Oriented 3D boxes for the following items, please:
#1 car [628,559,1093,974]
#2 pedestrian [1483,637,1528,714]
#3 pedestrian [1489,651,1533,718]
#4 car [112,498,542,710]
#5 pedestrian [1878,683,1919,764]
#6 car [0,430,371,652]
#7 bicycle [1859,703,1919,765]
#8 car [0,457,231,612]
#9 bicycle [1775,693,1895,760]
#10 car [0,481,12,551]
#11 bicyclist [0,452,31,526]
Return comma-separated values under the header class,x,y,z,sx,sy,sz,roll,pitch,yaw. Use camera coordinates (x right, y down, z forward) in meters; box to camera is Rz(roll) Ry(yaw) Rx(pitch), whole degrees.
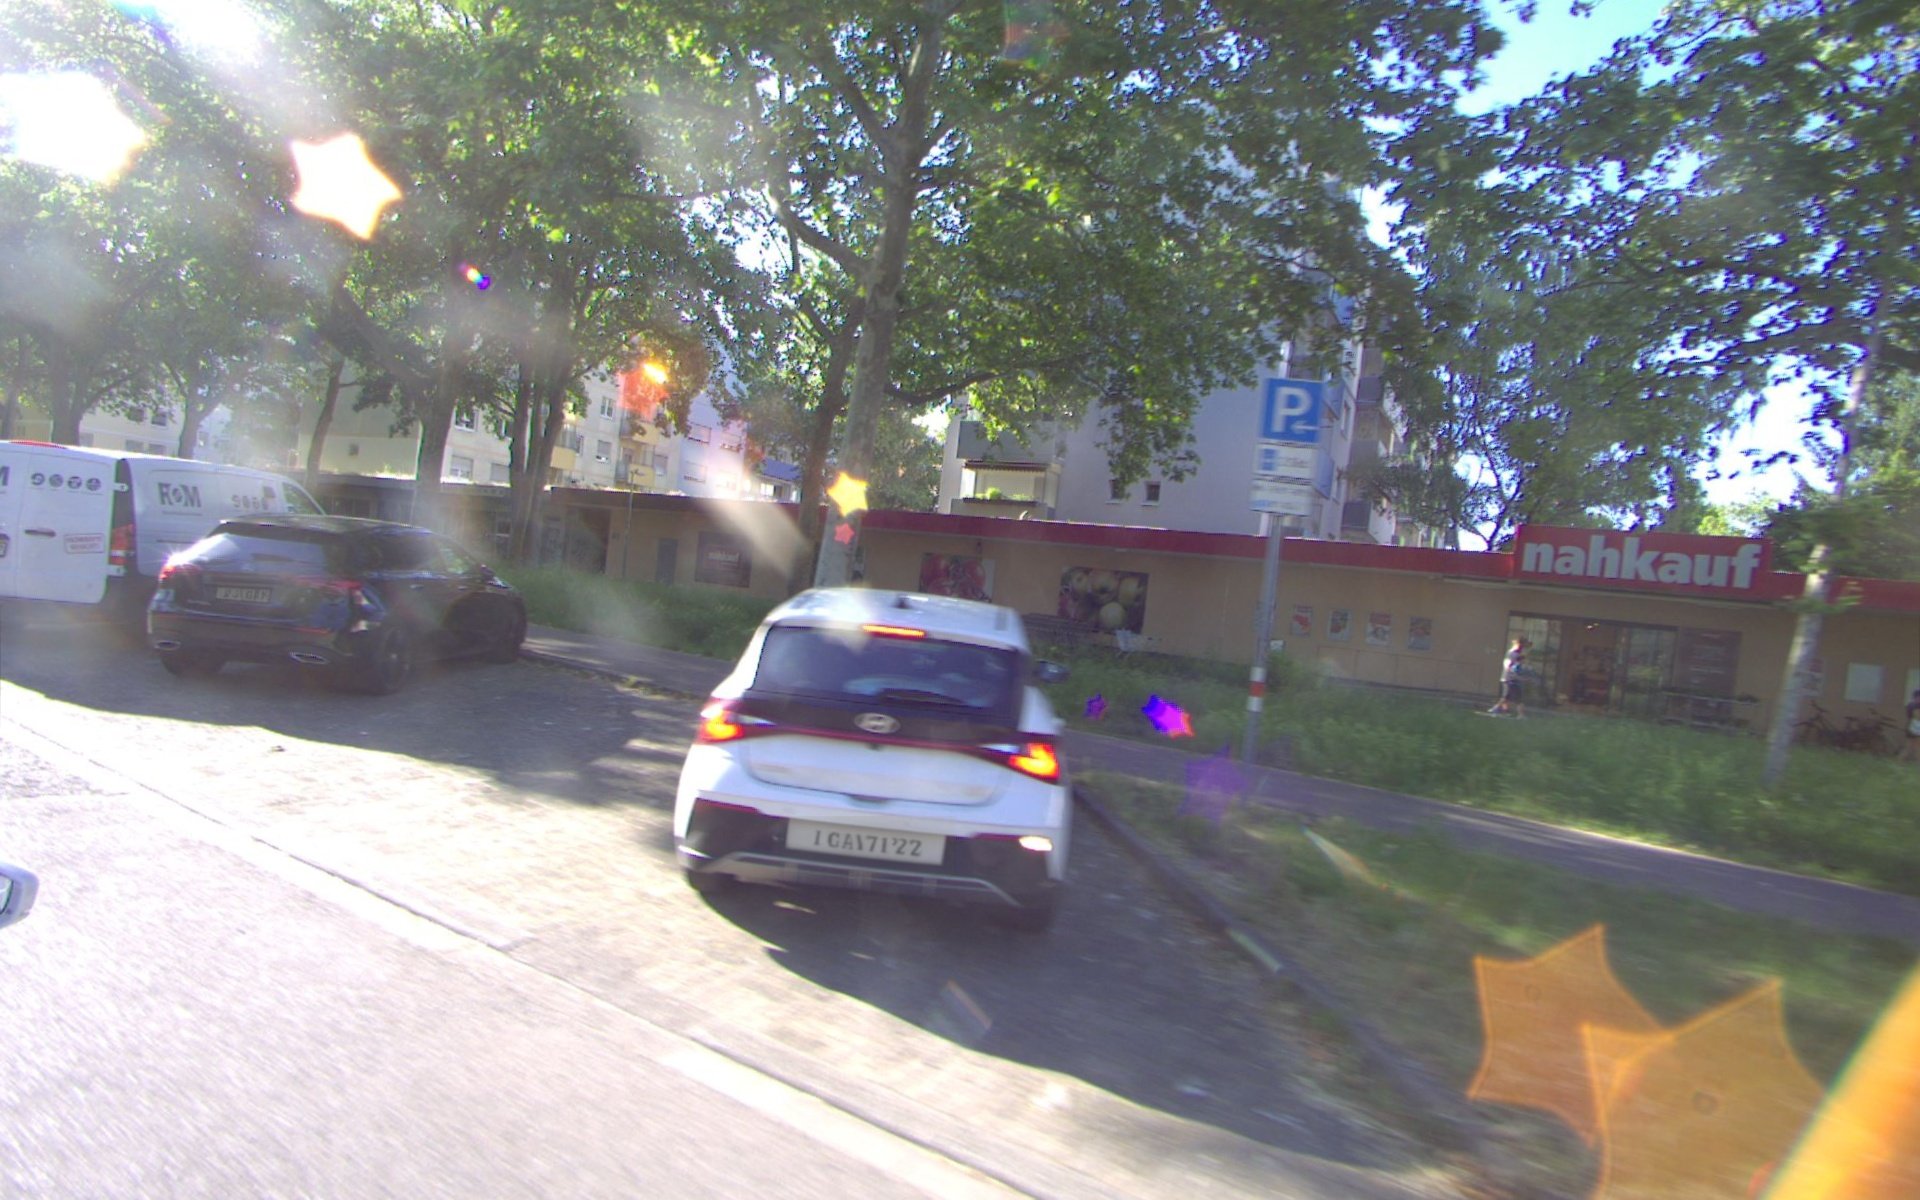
class,x,y,z,sx,sy,sz,roll,pitch,yaw
car,-0.364,0.591,6.002,1.728,1.489,3.993,6,3,1
pedestrian,13.006,1.800,23.990,0.703,1.722,0.495,8,2,27
pedestrian,12.762,1.950,23.311,0.703,1.449,0.532,8,2,27
car,-5.676,-0.056,9.706,1.767,1.449,3.991,6,3,-4
pedestrian,19.855,2.583,20.983,0.703,1.605,0.672,8,2,27
car,-8.698,-0.632,11.288,1.799,1.877,4.661,6,1,-8
bicycle,20.971,2.991,21.953,0.594,1.194,1.832,7,0,-36
car,-11.847,-0.883,13.182,1.730,1.727,4.493,6,1,-9
bicycle,19.613,2.822,22.596,0.592,1.194,1.836,7,0,-30
car,-20.211,-1.730,18.718,1.691,1.430,4.174,6,1,-11
bicyclist,-24.113,-2.827,25.431,1.007,1.763,0.623,8,2,36
